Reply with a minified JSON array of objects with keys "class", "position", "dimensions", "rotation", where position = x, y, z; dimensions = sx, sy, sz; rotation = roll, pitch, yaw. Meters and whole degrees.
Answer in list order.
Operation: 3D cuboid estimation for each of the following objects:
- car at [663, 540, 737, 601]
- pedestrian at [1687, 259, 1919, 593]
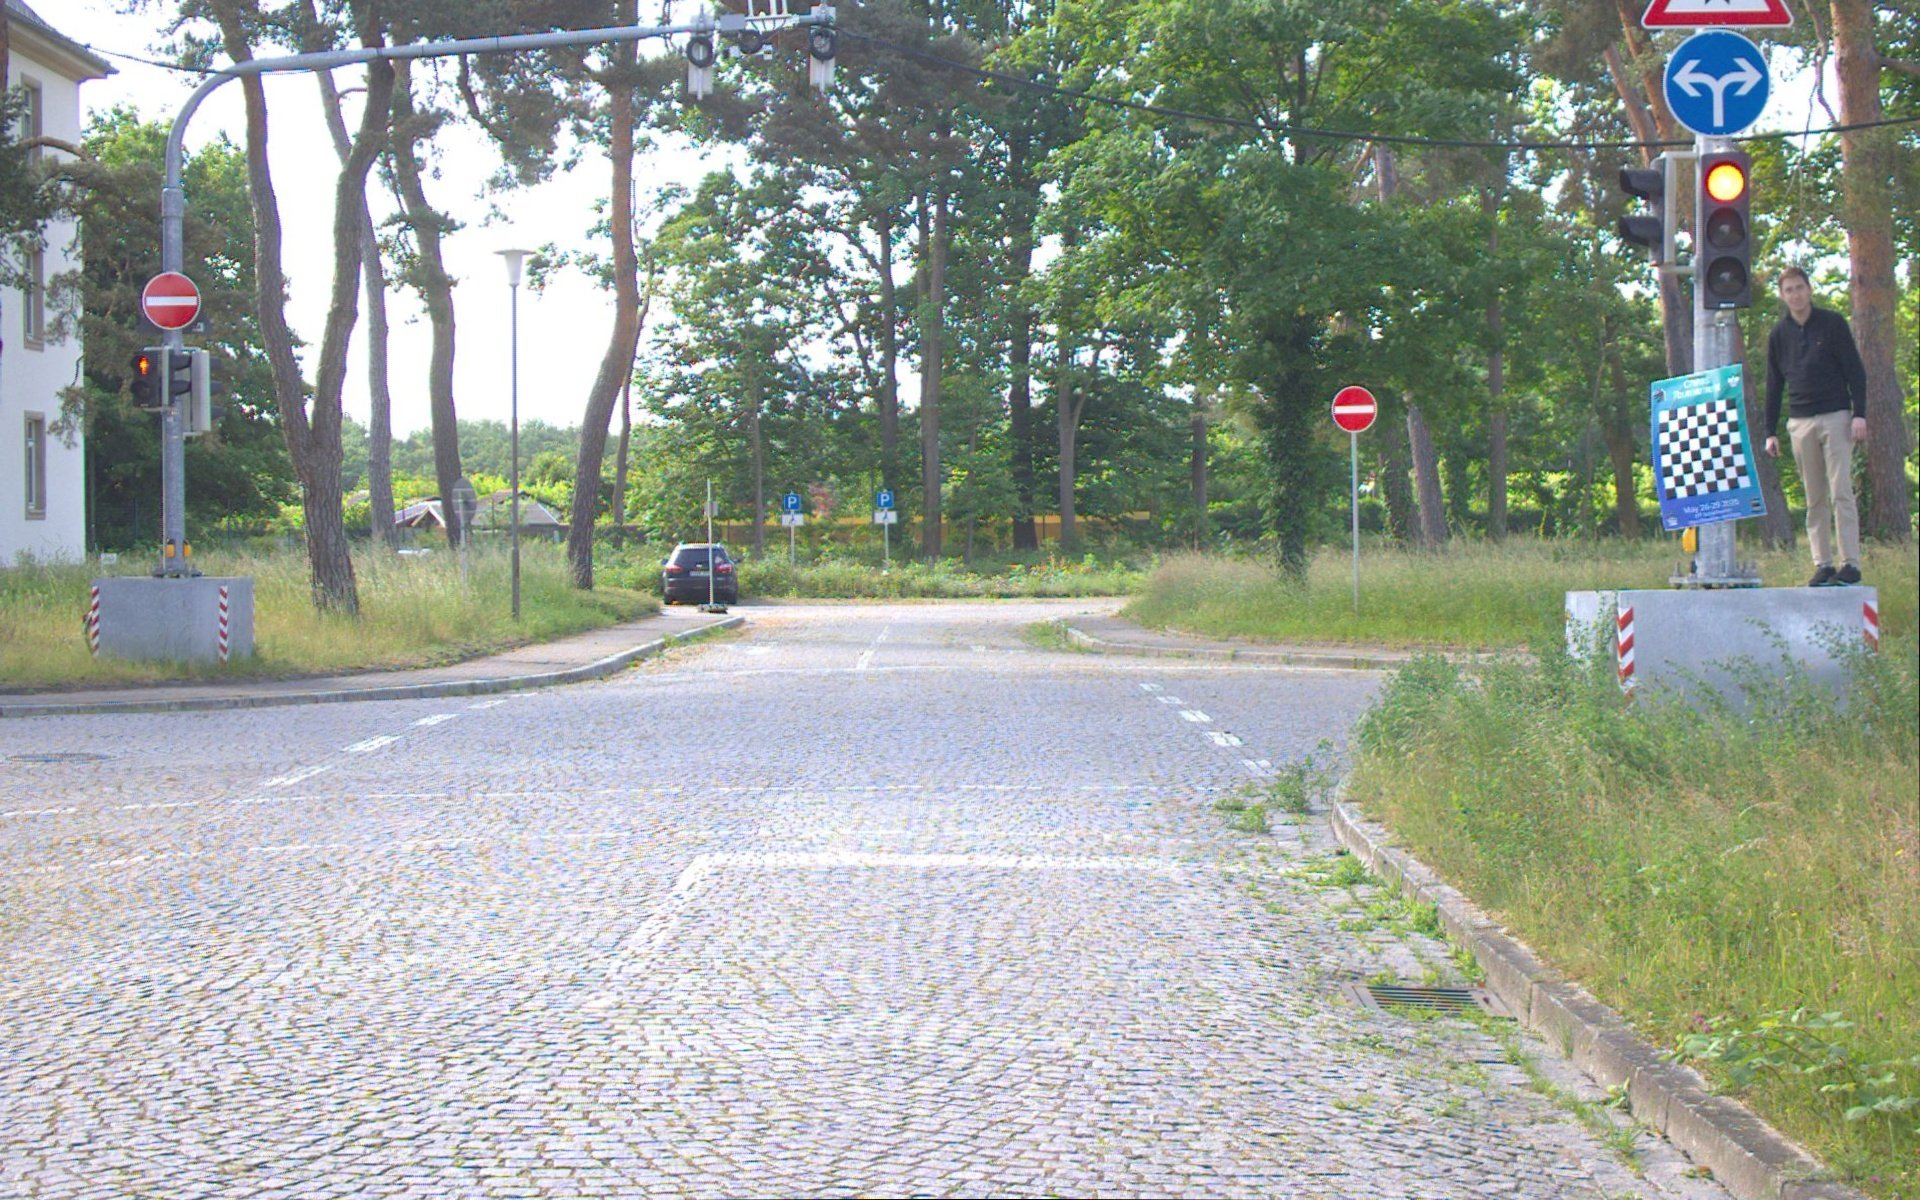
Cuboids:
[{"class":"car","position":[-6.560,-0.768,87.027],"dimensions":[1.709,1.491,3.919],"rotation":[-1,1,-3]},{"class":"pedestrian","position":[4.822,-0.955,19.287],"dimensions":[1.170,1.790,1.061],"rotation":[0,1,29]}]
